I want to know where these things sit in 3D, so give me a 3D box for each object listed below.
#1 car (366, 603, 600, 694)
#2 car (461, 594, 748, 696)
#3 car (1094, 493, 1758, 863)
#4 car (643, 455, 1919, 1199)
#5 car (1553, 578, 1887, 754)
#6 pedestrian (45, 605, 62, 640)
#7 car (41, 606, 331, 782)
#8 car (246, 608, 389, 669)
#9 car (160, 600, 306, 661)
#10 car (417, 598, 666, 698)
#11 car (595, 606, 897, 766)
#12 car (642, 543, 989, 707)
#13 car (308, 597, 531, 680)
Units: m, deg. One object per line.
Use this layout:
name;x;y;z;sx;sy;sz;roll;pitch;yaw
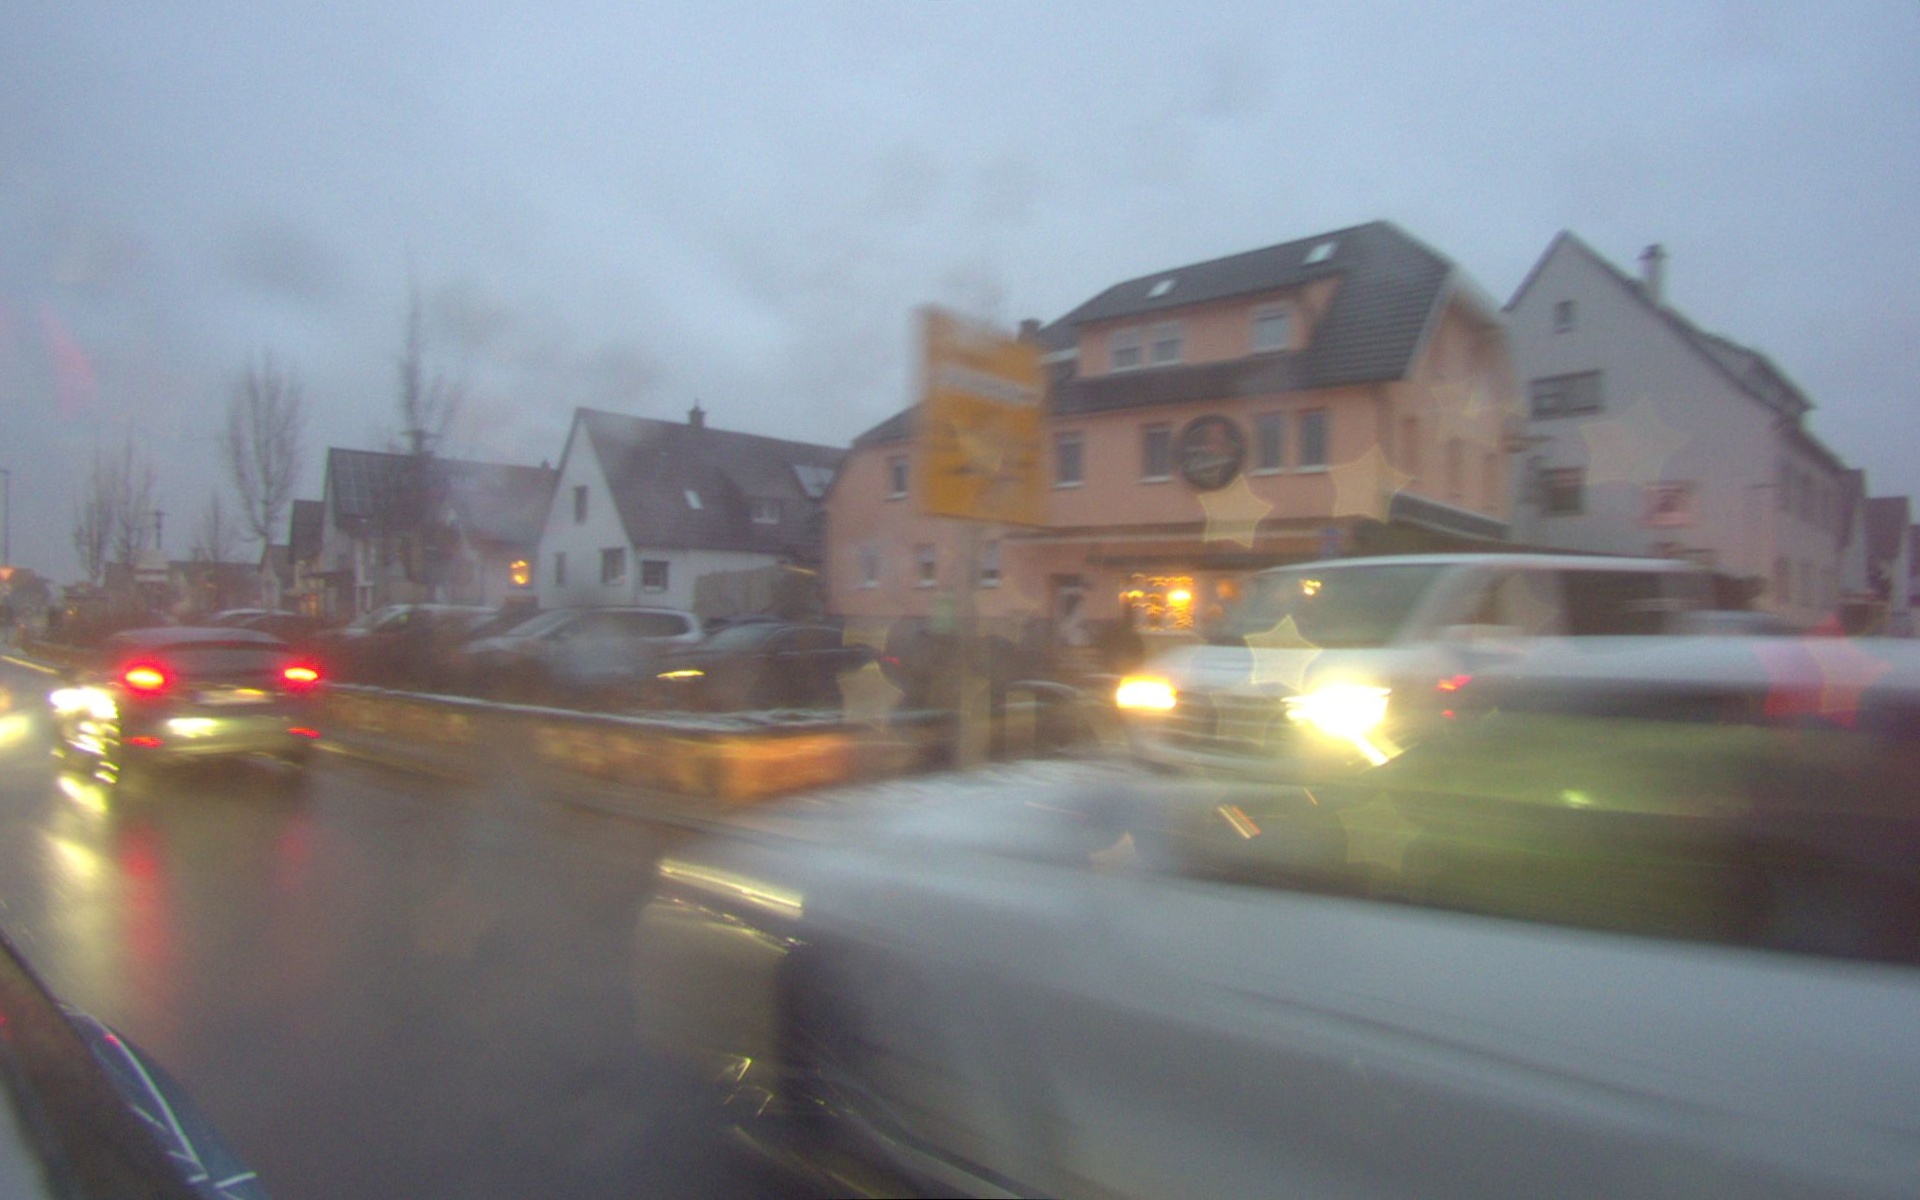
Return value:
car;-10.749;1.068;23.079;1.867;1.881;4.455;-2;-2;41
car;-6.628;0.853;19.315;2.000;1.697;4.811;-3;-3;43
car;3.847;0.422;7.810;5.683;1.961;1.996;0;-2;-35
car;1.436;0.635;2.013;4.545;1.530;1.807;-1;-3;41
car;8.964;0.767;11.793;4.693;1.648;2.004;4;-4;-39
pedestrian;-52.770;1.323;58.903;0.604;2.029;0.665;-1;-1;41
car;-8.112;0.875;10.487;3.836;1.491;1.603;-2;-4;41
car;-22.007;1.371;34.756;1.749;1.966;3.755;-2;-5;41
car;-25.186;1.123;35.149;1.749;1.966;3.755;-2;-5;41
car;-8.748;0.980;21.471;1.999;1.881;4.455;-2;-2;41
car;-2.937;1.189;14.568;1.749;1.966;3.986;-2;-5;41
car;-1.656;0.328;12.624;1.999;1.697;3.945;-2;-2;41
car;-12.939;0.912;24.446;1.844;1.815;4.367;-2;-2;41
